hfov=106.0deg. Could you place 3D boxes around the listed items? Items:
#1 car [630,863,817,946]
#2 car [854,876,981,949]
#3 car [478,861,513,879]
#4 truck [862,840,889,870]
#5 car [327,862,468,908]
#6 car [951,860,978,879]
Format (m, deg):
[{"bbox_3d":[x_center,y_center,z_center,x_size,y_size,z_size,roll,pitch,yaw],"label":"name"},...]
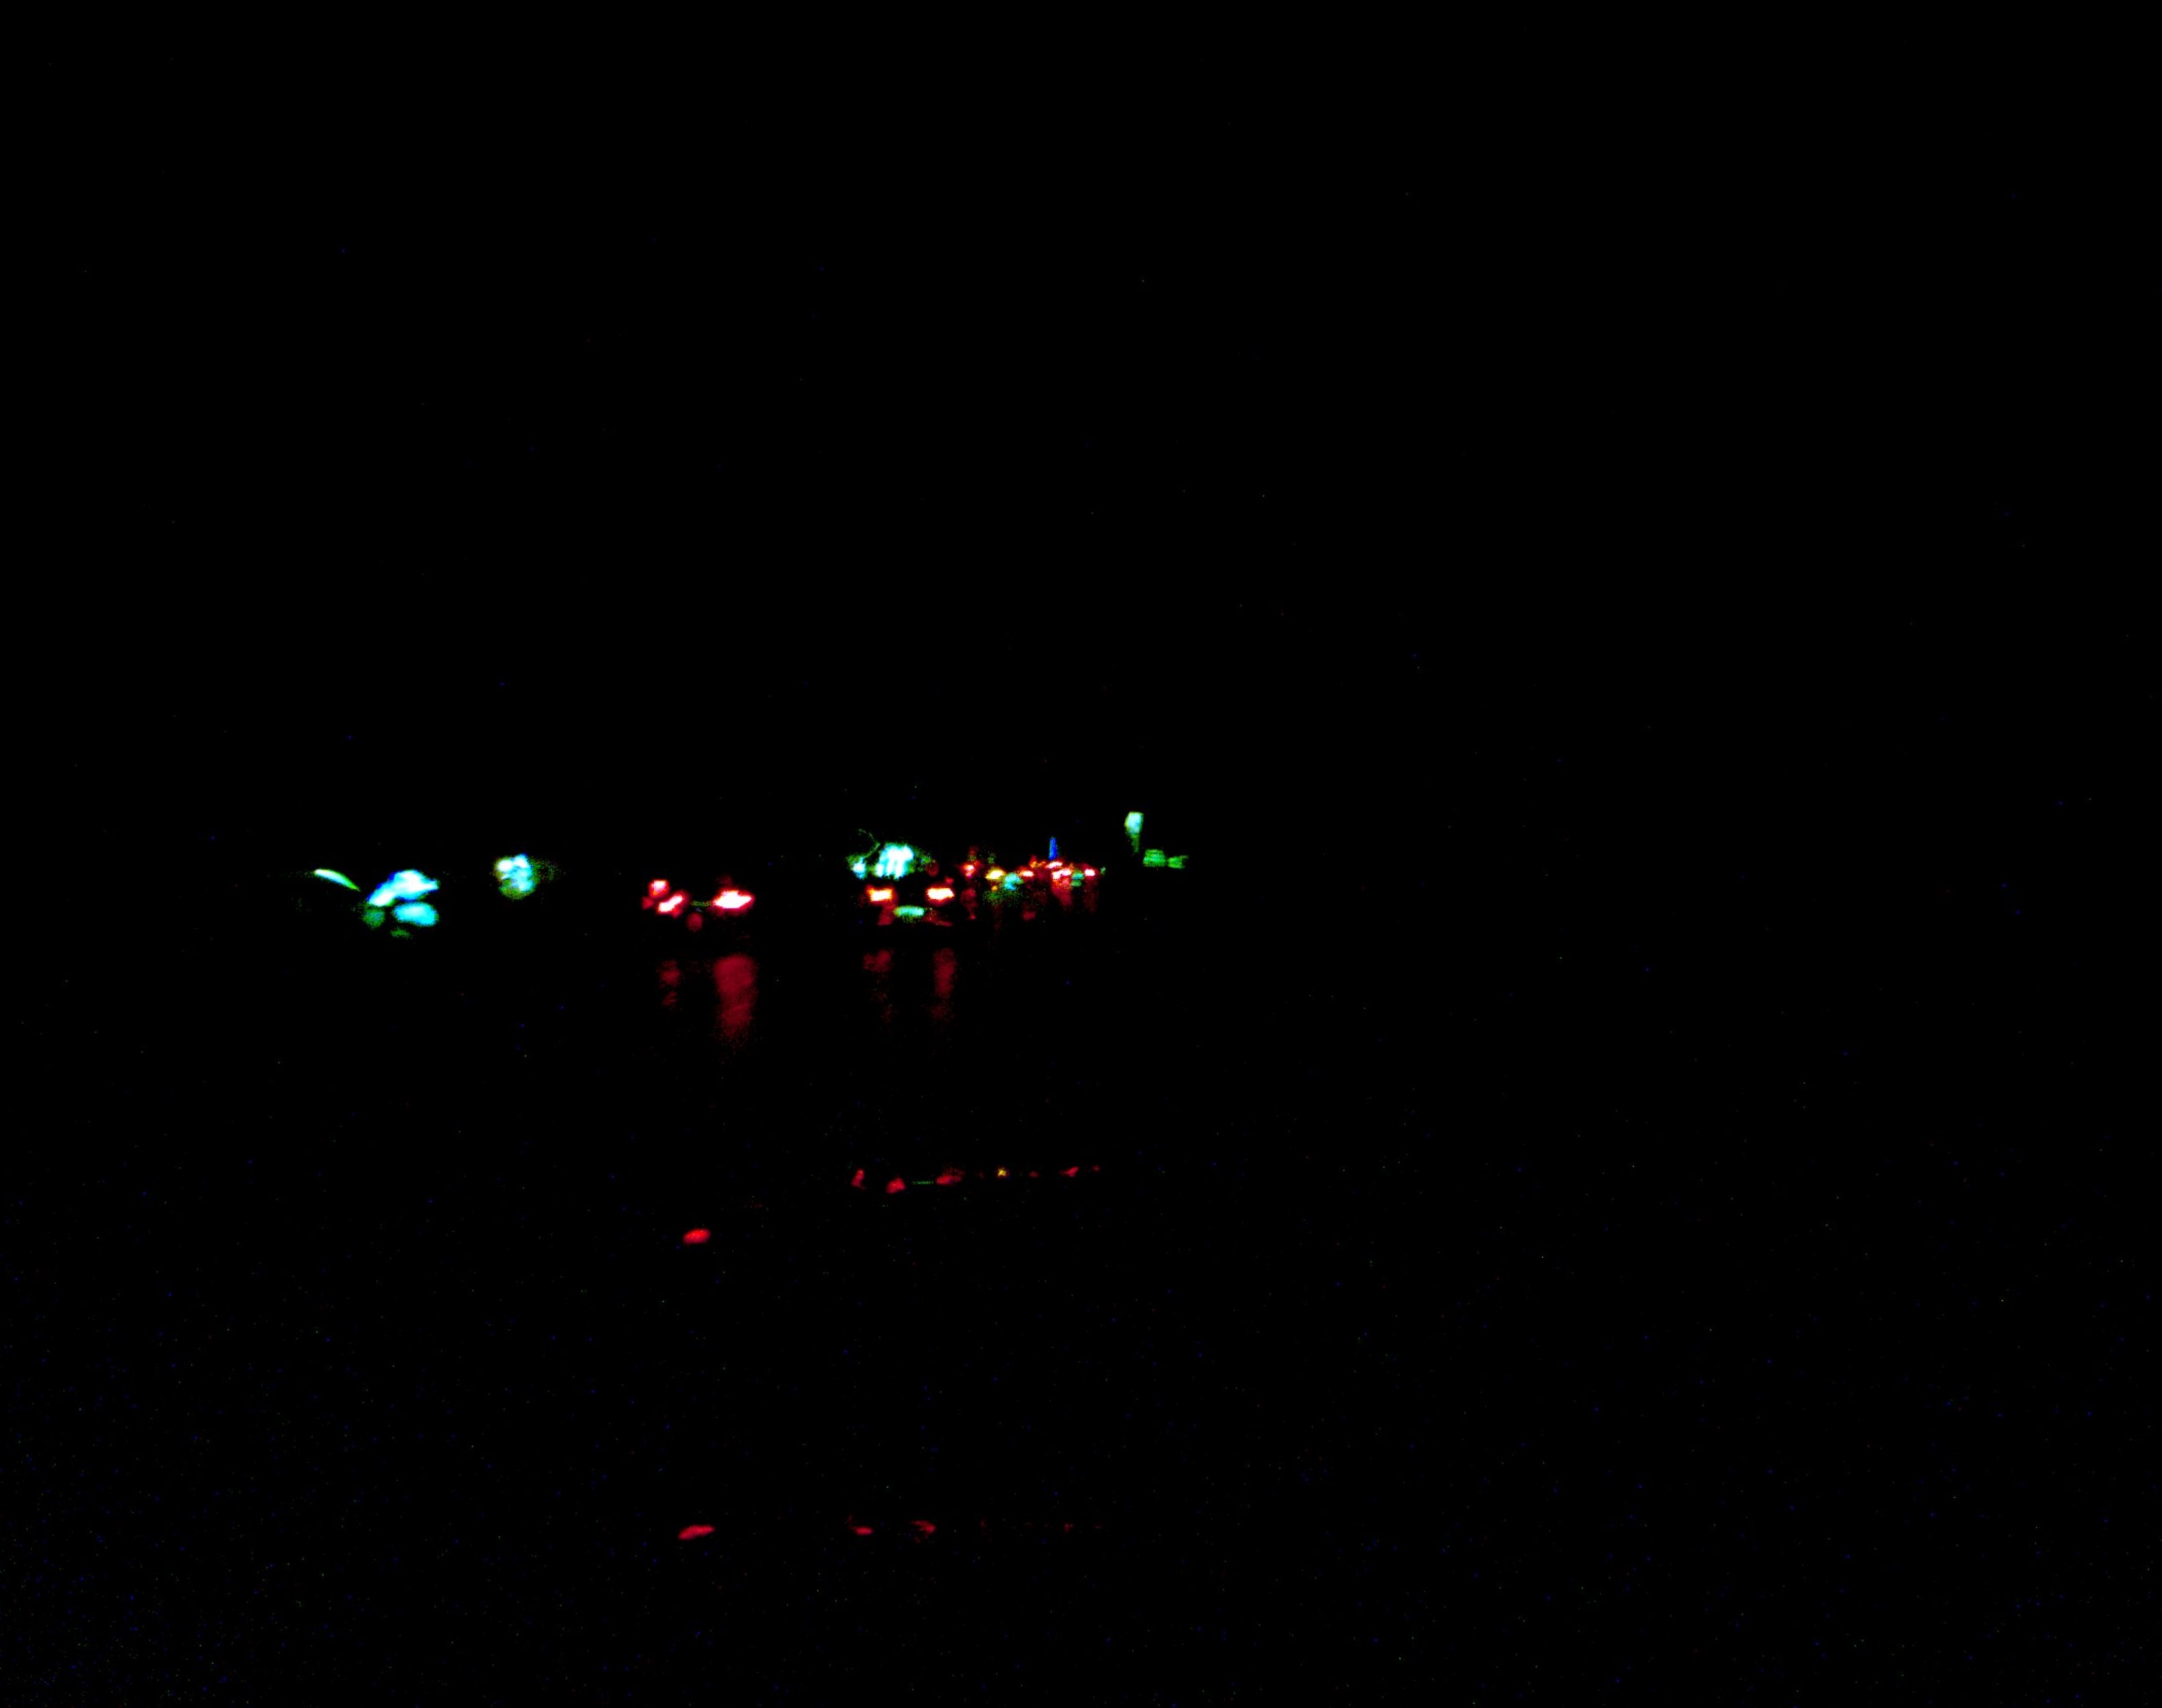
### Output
[{"bbox_3d":[-7.357,0.951,17.400,1.761,1.517,4.915,0,-1,1],"label":"car"},{"bbox_3d":[-3.429,1.190,17.883,1.956,1.381,4.048,1,-1,0],"label":"car"},{"bbox_3d":[-55.888,1.531,77.733,3.949,1.713,1.848,-1,-2,40],"label":"car"},{"bbox_3d":[-24.051,0.170,95.493,2.603,3.458,4.626,0,-1,-9],"label":"truck"},{"bbox_3d":[-25.808,1.142,30.961,1.893,1.643,4.192,0,-1,-2],"label":"car"},{"bbox_3d":[-9.510,1.292,66.841,1.888,1.550,3.994,0,-1,-4],"label":"car"}]
